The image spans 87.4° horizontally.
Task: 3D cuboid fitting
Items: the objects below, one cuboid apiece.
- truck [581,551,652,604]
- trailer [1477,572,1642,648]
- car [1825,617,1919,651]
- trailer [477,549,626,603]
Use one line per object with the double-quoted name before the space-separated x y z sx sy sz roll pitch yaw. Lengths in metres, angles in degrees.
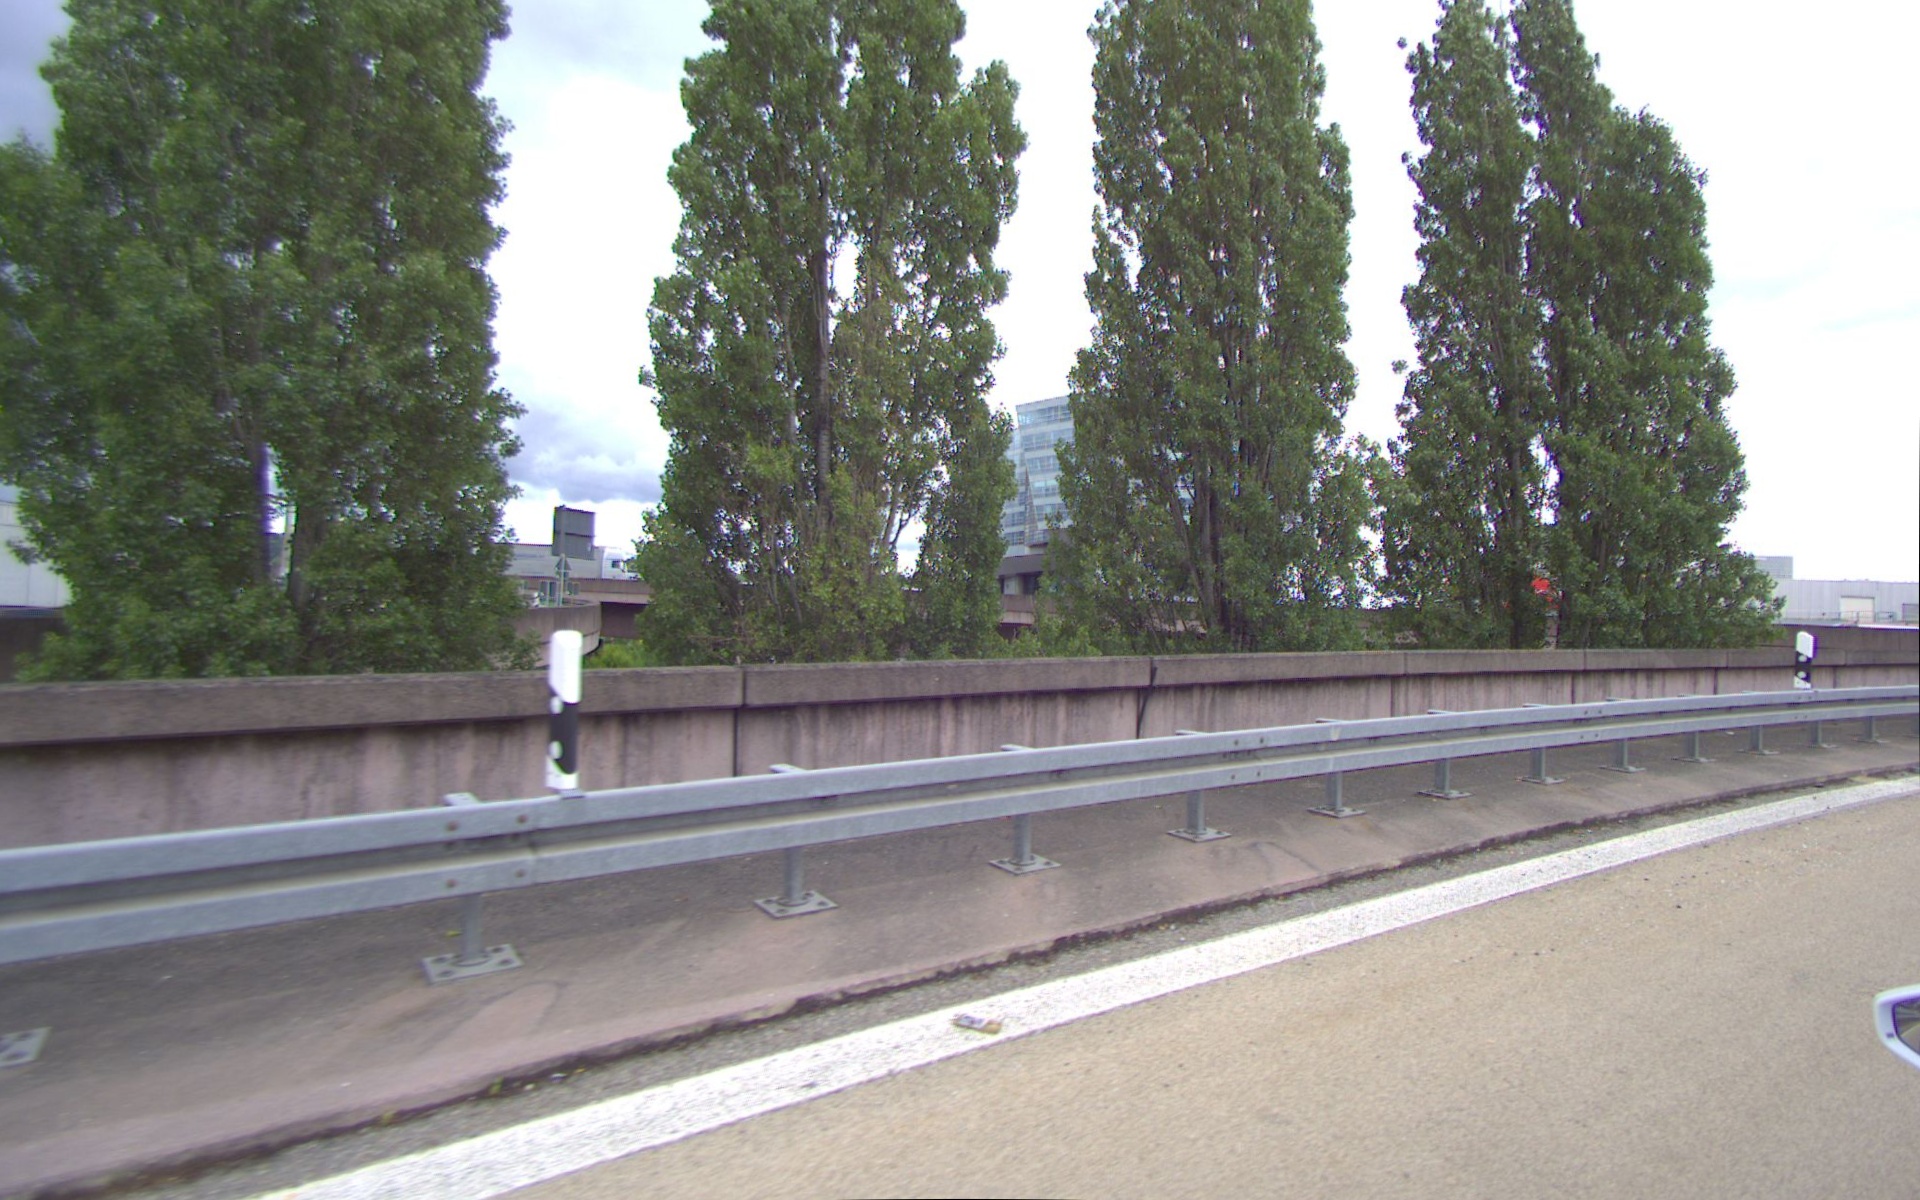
"truck" -27.685 -1.779 80.986 4.700 4.065 2.863 2 2 25
"trailer" 31.558 0.530 53.256 7.173 3.738 2.698 1 -2 24
"car" 48.521 1.786 53.307 3.582 1.539 1.686 2 3 26
"trailer" -34.282 -2.053 84.024 13.708 4.065 2.863 2 2 25
